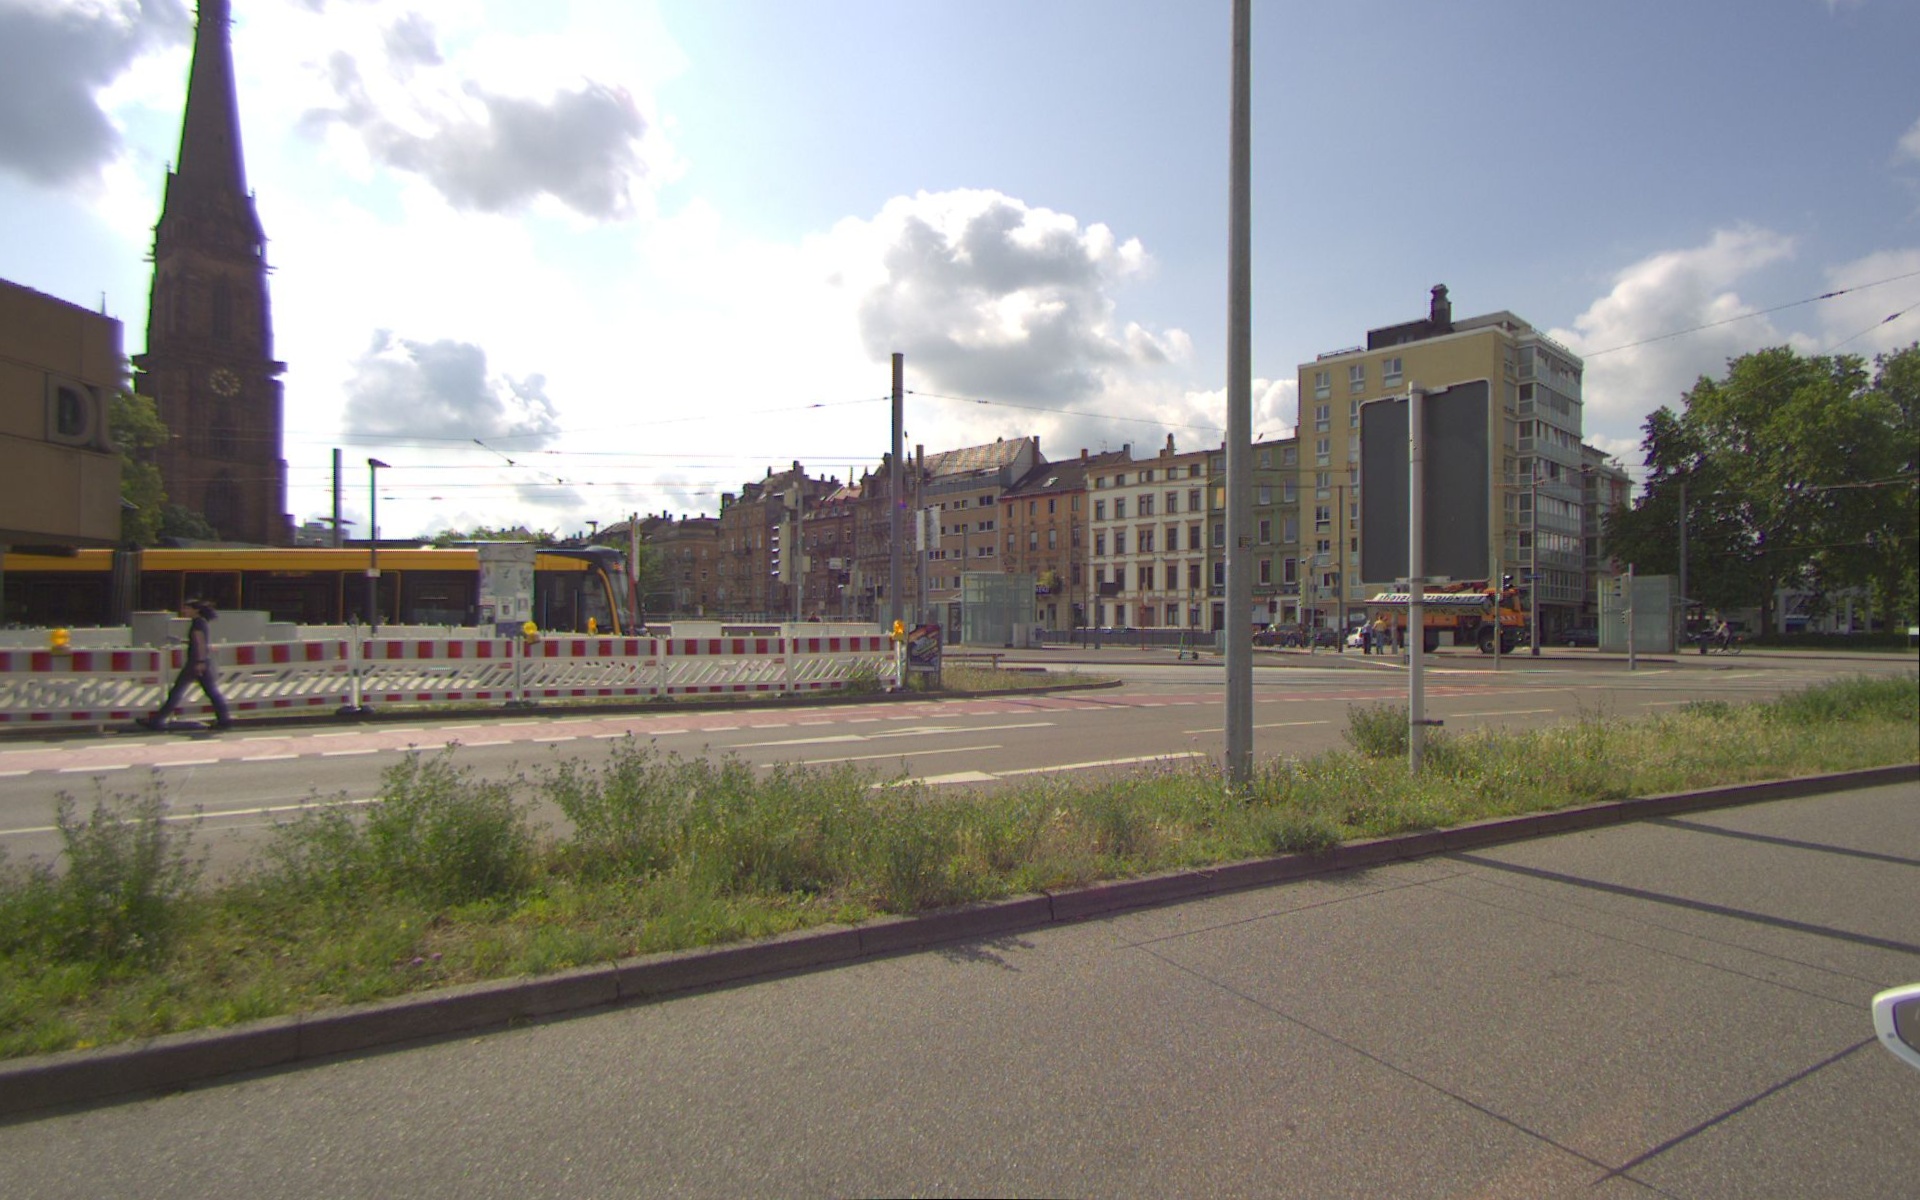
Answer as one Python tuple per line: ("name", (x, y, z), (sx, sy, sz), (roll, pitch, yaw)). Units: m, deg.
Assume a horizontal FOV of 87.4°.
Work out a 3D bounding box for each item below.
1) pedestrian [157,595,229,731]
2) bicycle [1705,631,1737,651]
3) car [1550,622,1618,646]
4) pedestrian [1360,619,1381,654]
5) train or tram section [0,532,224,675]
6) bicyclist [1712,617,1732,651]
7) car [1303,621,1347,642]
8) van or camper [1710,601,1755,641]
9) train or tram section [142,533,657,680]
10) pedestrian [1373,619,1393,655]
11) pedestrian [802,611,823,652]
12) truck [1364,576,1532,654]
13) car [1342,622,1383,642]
("pedestrian", (-9.943, 0.797, 13.040), (0.634, 1.703, 0.732), (1, -1, -31))
("bicycle", (44.007, 2.355, 58.081), (1.448, 1.131, 0.584), (-1, -1, 41))
("car", (45.002, 2.427, 72.467), (3.943, 1.684, 1.989), (-1, -1, 43))
("pedestrian", (21.972, 1.949, 53.741), (0.809, 1.884, 0.696), (1, -1, -28))
("train or tram section", (-26.721, 0.087, 26.844), (12.167, 3.611, 2.631), (0, -1, 1))
("bicyclist", (44.024, 1.959, 58.057), (0.875, 1.895, 0.760), (0, -1, 41))
("car", (25.975, 2.252, 71.592), (1.834, 1.455, 4.007), (0, -1, 3))
("van or camper", (59.679, 1.639, 77.594), (2.551, 2.947, 6.071), (-1, -1, 39))
("train or tram section", (-14.529, 0.177, 26.616), (12.166, 3.619, 2.669), (0, -1, 1))
("pedestrian", (22.316, 1.937, 53.036), (0.771, 1.893, 0.648), (1, -1, -27))
("pedestrian", (-6.622, 1.431, 45.111), (0.788, 1.820, 0.965), (0, -1, -2))
("truck", (25.898, 0.807, 53.625), (7.829, 3.907, 2.188), (-1, -2, 43))
("car", (28.290, 2.238, 70.696), (1.663, 1.368, 3.678), (0, -1, 3))
